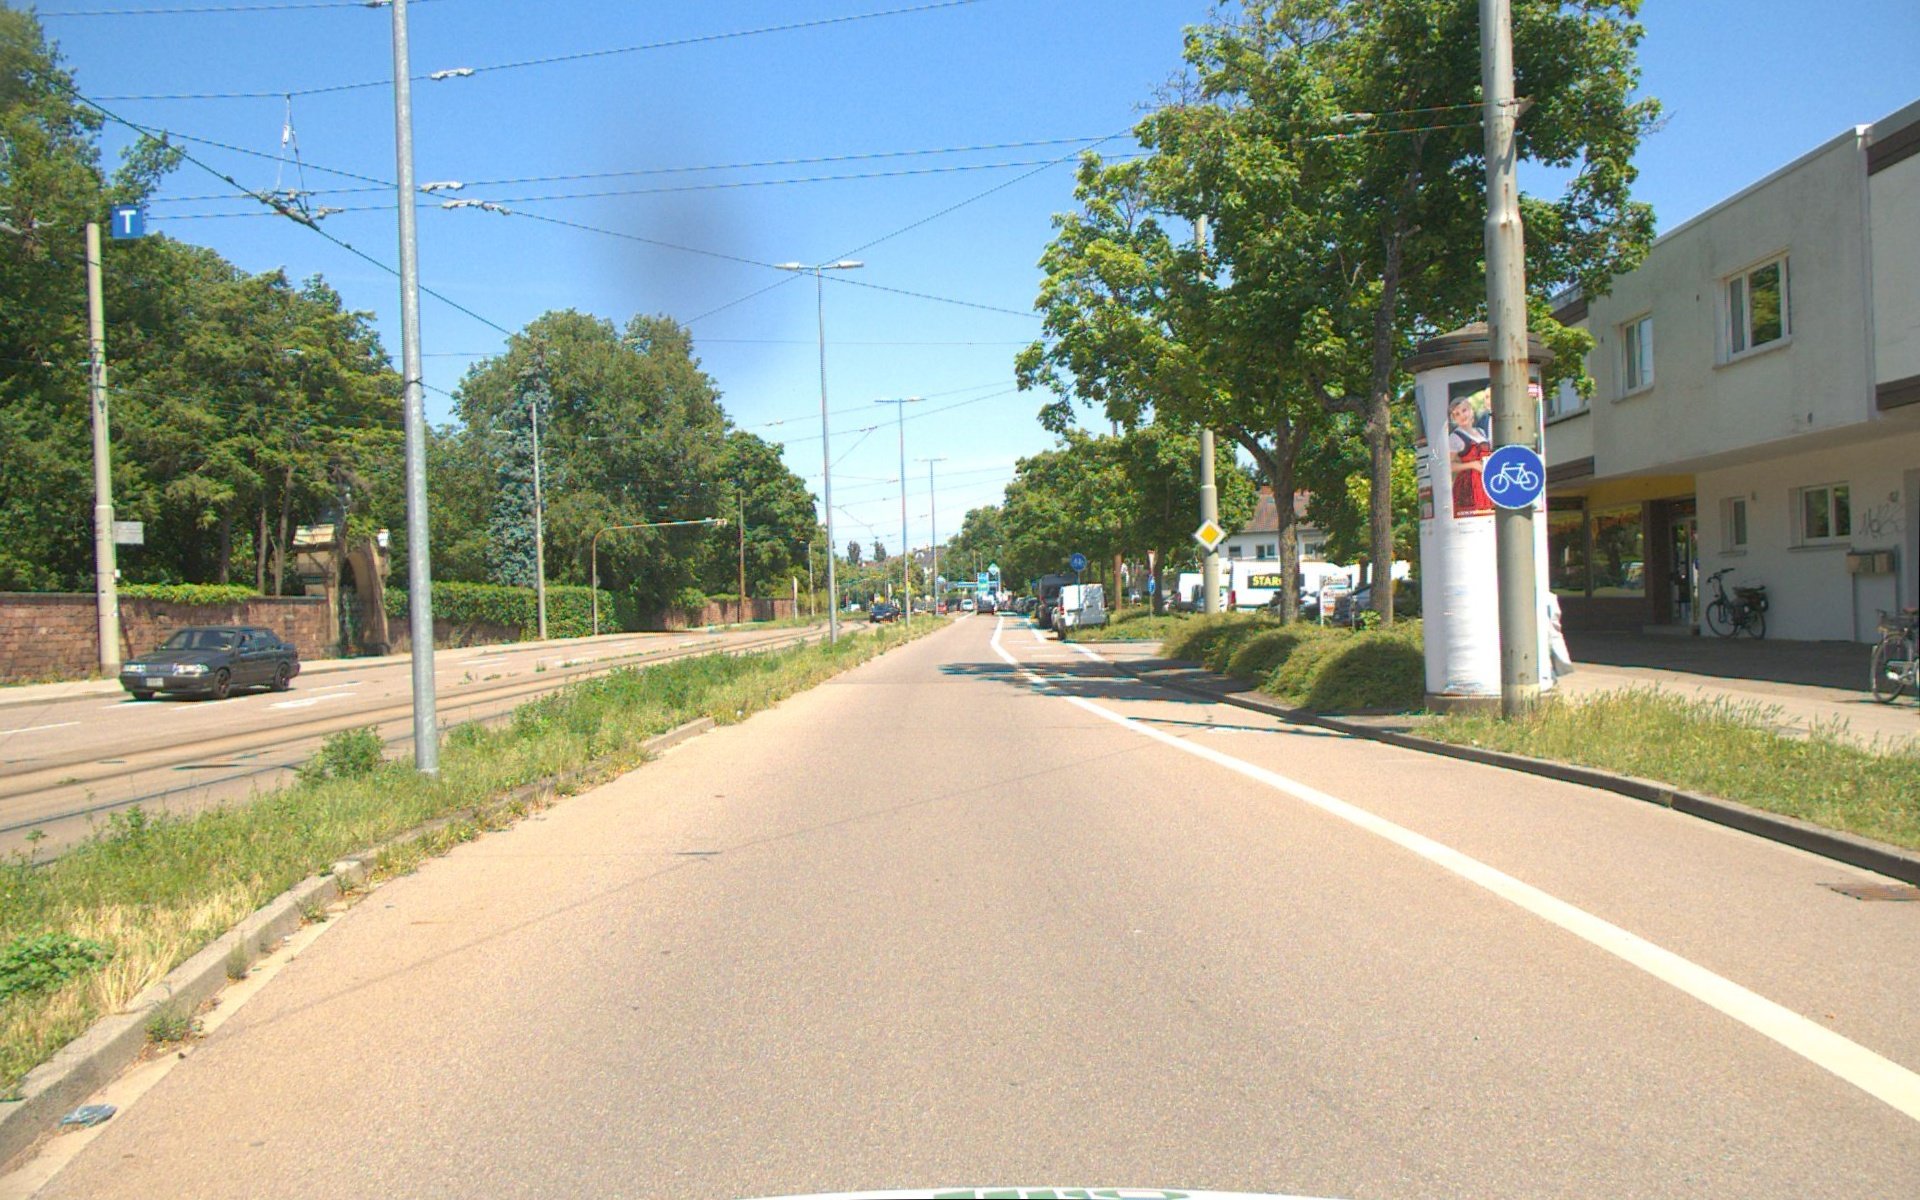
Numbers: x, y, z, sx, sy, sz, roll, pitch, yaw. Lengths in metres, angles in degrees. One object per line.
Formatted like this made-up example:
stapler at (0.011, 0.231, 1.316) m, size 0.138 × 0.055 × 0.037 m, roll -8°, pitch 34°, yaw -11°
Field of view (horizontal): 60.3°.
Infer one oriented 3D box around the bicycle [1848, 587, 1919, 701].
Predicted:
bicycle at (9.424, 0.401, 15.584) m, size 1.011 × 1.032 × 2.639 m, roll -2°, pitch 0°, yaw 9°

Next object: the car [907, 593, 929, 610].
car at (-2.790, 0.101, 109.483) m, size 1.266 × 1.072 × 2.598 m, roll -2°, pitch 0°, yaw -4°

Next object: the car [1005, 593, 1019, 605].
car at (6.179, -0.132, 197.251) m, size 1.493 × 1.319 × 3.492 m, roll -2°, pitch 0°, yaw -1°

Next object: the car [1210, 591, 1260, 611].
car at (14.580, 0.038, 87.657) m, size 2.533 × 0.979 × 1.150 m, roll -2°, pitch 0°, yaw 7°

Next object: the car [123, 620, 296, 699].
car at (-15.231, 1.167, 33.797) m, size 1.607 × 1.424 × 4.116 m, roll 0°, pitch 0°, yaw 1°

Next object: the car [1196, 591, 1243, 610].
car at (14.984, 0.032, 95.629) m, size 2.534 × 0.979 × 1.149 m, roll -2°, pitch 0°, yaw 2°

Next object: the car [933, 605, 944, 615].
car at (-2.558, 1.195, 196.674) m, size 1.358 × 1.045 × 3.144 m, roll -2°, pitch 0°, yaw -1°

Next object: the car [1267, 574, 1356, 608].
car at (14.530, -0.364, 68.523) m, size 3.467 × 1.243 × 1.477 m, roll -2°, pitch 0°, yaw 7°

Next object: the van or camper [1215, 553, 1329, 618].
van or camper at (14.034, -0.637, 74.650) m, size 4.659 × 2.717 × 2.136 m, roll -2°, pitch 0°, yaw 0°

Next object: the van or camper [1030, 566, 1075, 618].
van or camper at (4.703, -0.387, 84.354) m, size 1.953 × 2.507 × 3.999 m, roll -2°, pitch 0°, yaw -1°

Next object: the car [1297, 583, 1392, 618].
car at (15.148, 0.028, 65.198) m, size 3.467 × 1.243 × 1.477 m, roll -2°, pitch 0°, yaw 7°

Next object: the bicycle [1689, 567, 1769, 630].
bicycle at (13.680, -0.021, 29.477) m, size 0.496 × 1.084 × 1.863 m, roll 0°, pitch -1°, yaw -2°

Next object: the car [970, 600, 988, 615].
car at (1.912, 0.727, 164.880) m, size 1.603 × 1.375 × 3.841 m, roll -2°, pitch 0°, yaw -1°

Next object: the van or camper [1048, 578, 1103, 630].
van or camper at (4.290, 0.126, 61.834) m, size 1.882 × 1.803 × 4.001 m, roll -2°, pitch 0°, yaw 2°

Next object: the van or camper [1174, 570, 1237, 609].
van or camper at (14.687, -0.642, 99.019) m, size 3.485 × 2.183 × 1.602 m, roll -2°, pitch 0°, yaw 0°

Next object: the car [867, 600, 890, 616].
car at (-6.055, 0.582, 123.075) m, size 1.461 × 1.064 × 3.580 m, roll -2°, pitch 0°, yaw 1°

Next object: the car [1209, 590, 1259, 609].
car at (14.958, -0.029, 90.385) m, size 2.534 × 0.979 × 1.149 m, roll -2°, pitch 0°, yaw 2°
